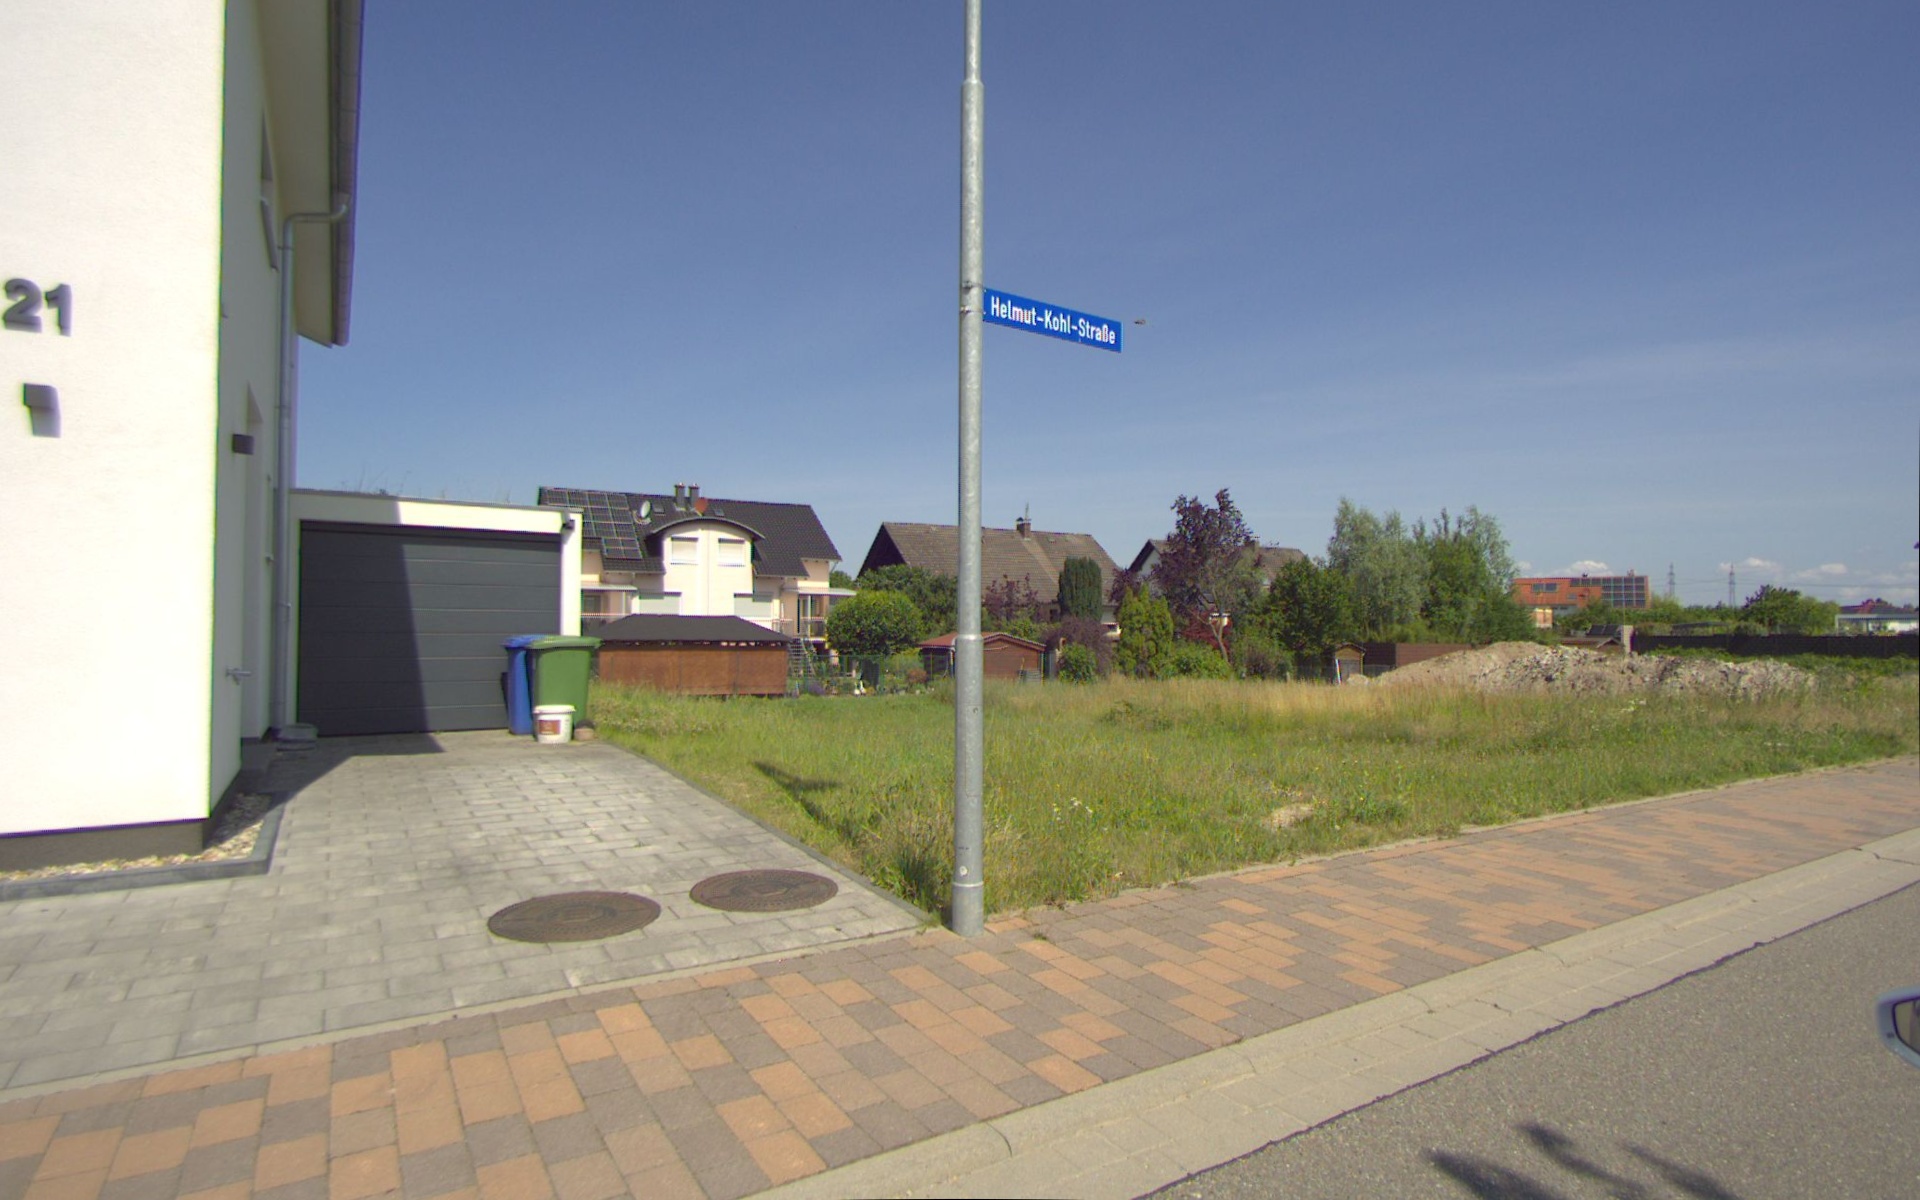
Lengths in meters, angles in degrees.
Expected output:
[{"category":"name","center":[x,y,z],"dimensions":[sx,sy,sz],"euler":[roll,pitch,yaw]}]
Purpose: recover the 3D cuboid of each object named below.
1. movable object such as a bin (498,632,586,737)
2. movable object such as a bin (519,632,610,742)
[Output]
[{"category":"movable object such as a bin","center":[-4.641,0.918,11.144],"dimensions":[0.799,1.113,0.666],"euler":[2,-3,-31]},{"category":"movable object such as a bin","center":[-4.210,0.909,10.683],"dimensions":[0.776,1.113,0.656],"euler":[2,-3,-33]}]
